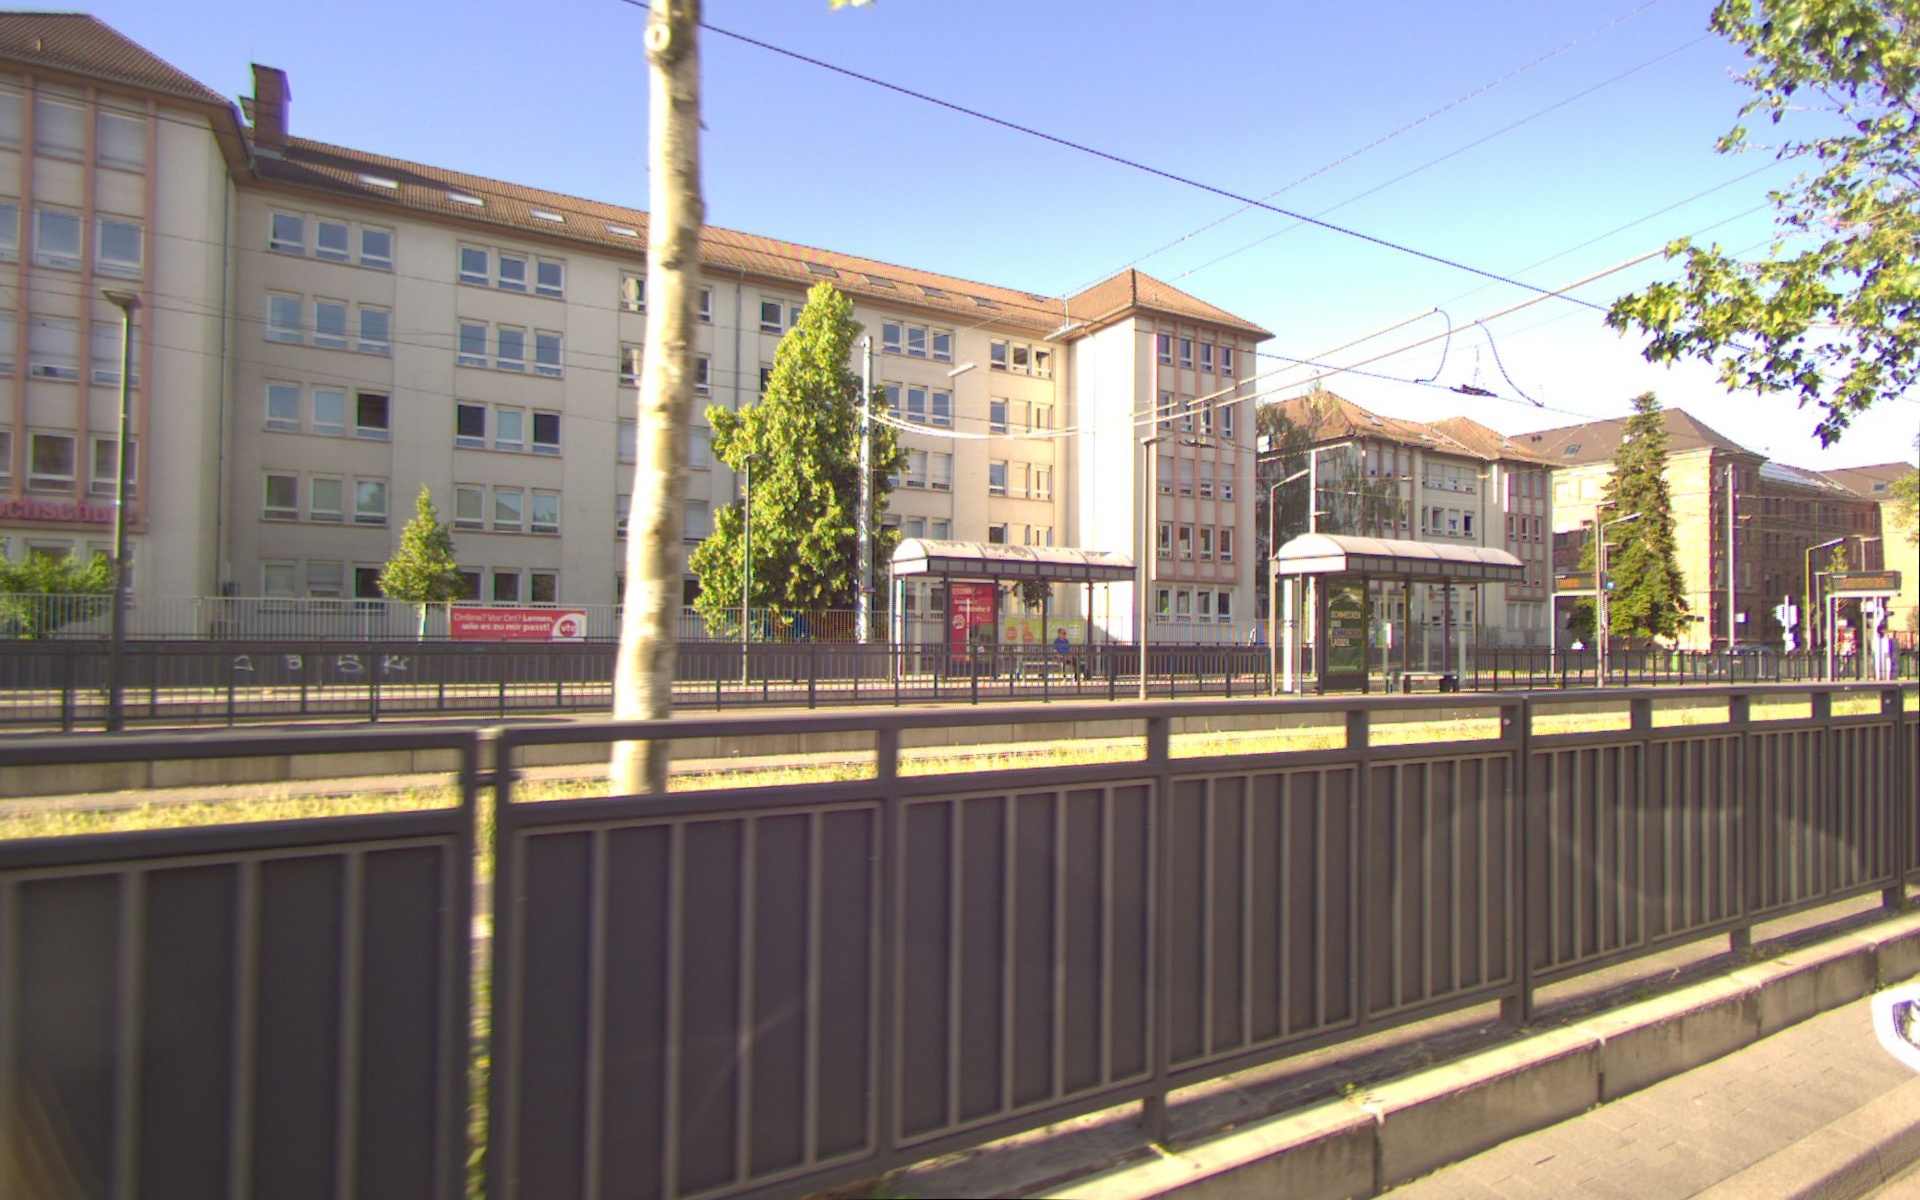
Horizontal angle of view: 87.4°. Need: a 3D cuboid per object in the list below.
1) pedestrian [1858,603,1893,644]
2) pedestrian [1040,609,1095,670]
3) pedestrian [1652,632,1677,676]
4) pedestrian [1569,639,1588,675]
[{"bbox_3d":[39.632,1.024,43.485,0.720,1.759,0.950,1,-1,-27],"label":"pedestrian"},{"bbox_3d":[2.537,0.926,23.724,0.869,1.394,0.970,1,-1,-30],"label":"pedestrian"},{"bbox_3d":[33.729,2.580,48.099,0.850,2.040,0.659,1,-2,-30],"label":"pedestrian"},{"bbox_3d":[32.818,3.019,53.312,0.566,1.861,0.689,1,-2,-30],"label":"pedestrian"}]
